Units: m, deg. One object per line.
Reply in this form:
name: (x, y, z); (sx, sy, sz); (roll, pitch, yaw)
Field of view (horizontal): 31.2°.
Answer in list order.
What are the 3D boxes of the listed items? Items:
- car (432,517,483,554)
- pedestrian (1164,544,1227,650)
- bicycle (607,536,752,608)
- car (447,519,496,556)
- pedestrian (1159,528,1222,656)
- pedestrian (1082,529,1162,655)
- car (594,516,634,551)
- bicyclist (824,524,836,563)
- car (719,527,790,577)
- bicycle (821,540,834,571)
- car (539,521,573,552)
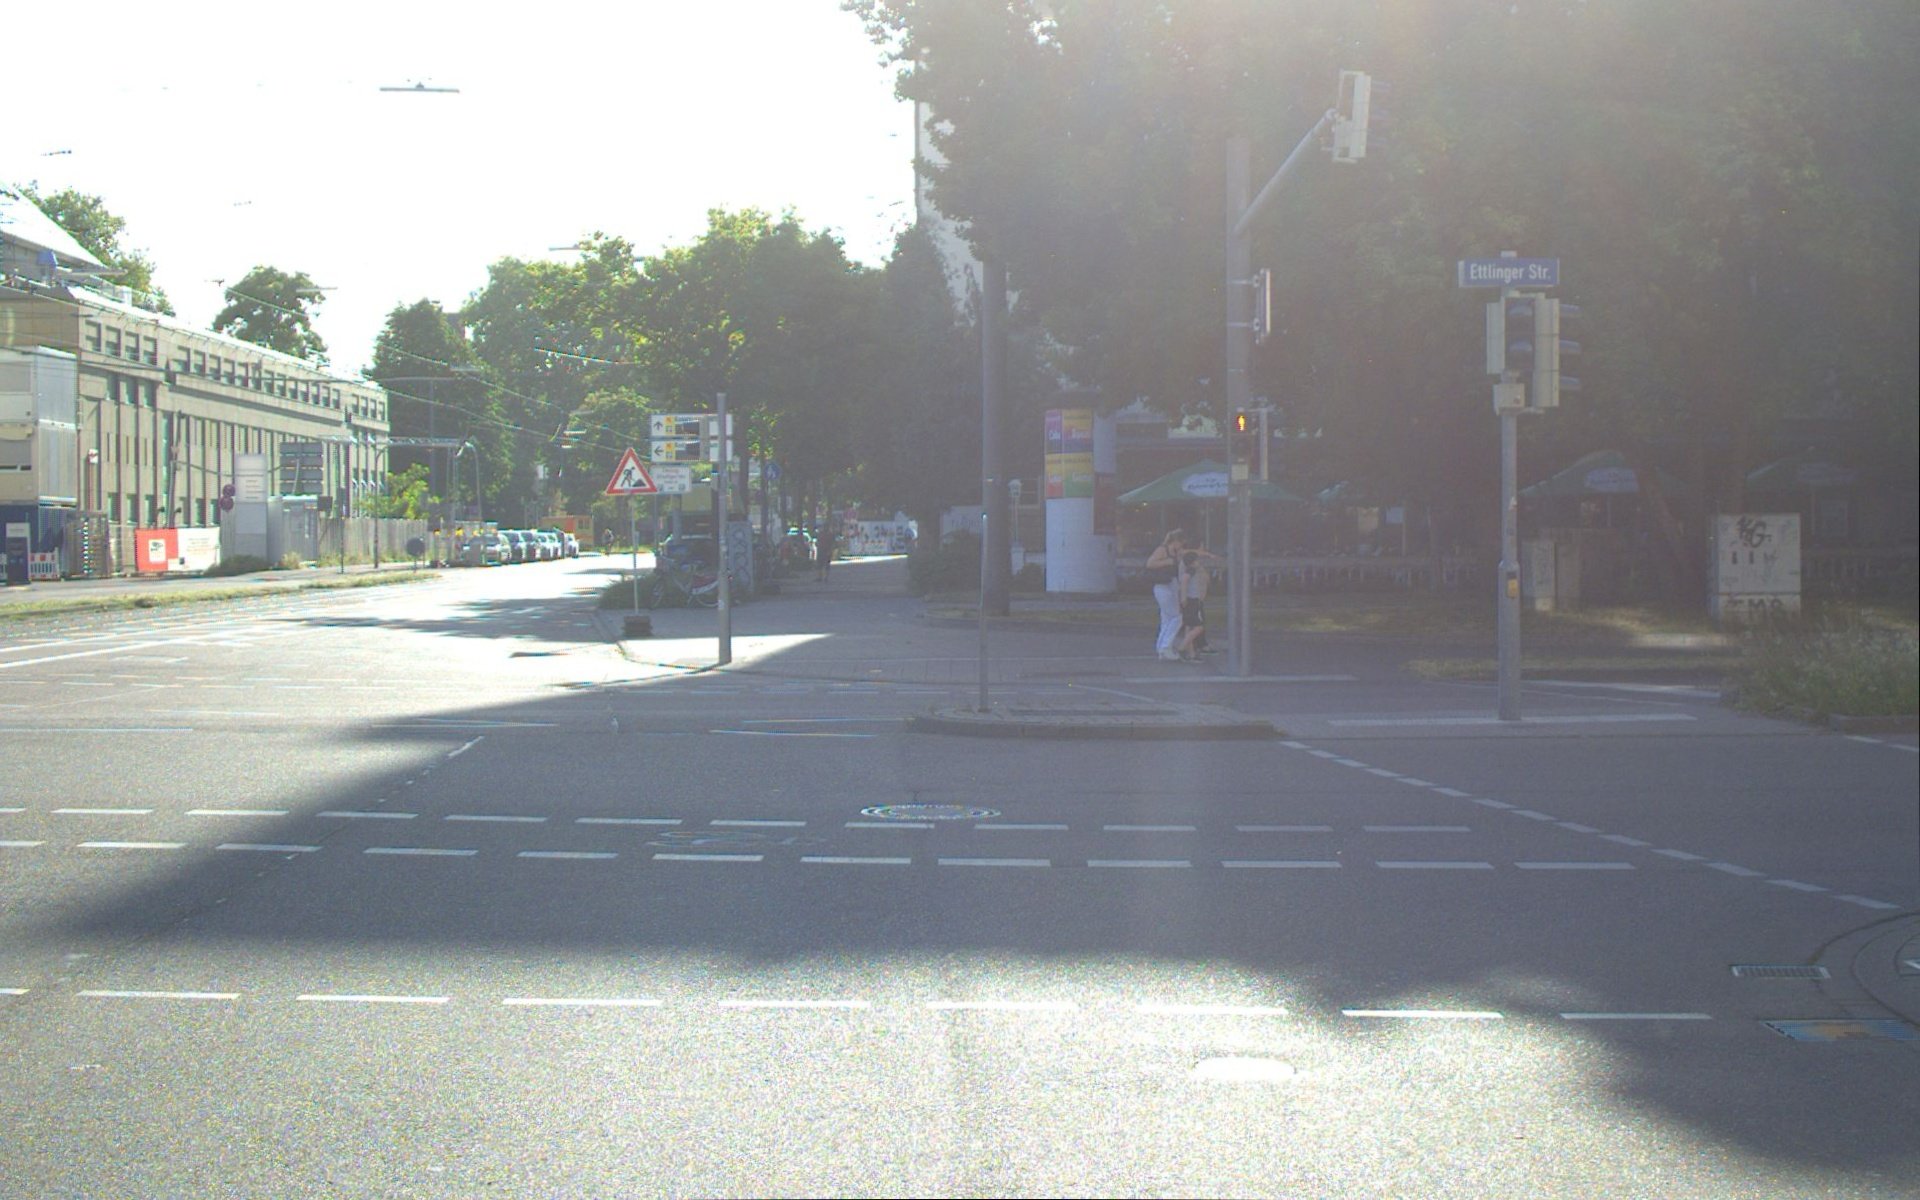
car: (-22.732, -2.918, 155.605); (1.731, 1.647, 4.000); (0, 1, -1)
pedestrian: (2.992, -0.044, 43.655); (0.752, 1.328, 0.742); (0, 1, 1)
bicycle: (-5.473, -0.556, 67.151); (2.748, 1.363, 0.630); (1, 0, 11)
car: (-22.734, -2.907, 159.992); (1.731, 1.647, 4.000); (0, 1, -1)
pedestrian: (2.975, -0.109, 44.409); (0.795, 1.634, 0.533); (0, 1, 2)
pedestrian: (2.055, -0.099, 43.770); (0.984, 1.582, 0.660); (0, 0, 1)
car: (-20.337, -3.906, 202.118); (1.993, 2.007, 4.000); (1, 1, -1)
bicyclist: (-3.721, -1.613, 98.418); (0.318, 1.124, 0.291); (0, 1, 4)
car: (-5.498, -1.298, 92.310); (1.819, 1.274, 4.001); (0, 1, -3)
bicycle: (-3.801, -1.285, 98.544); (0.324, 0.865, 1.483); (0, 1, -1)
car: (-22.846, -3.600, 194.645); (1.483, 1.744, 4.000); (-1, 1, -1)
